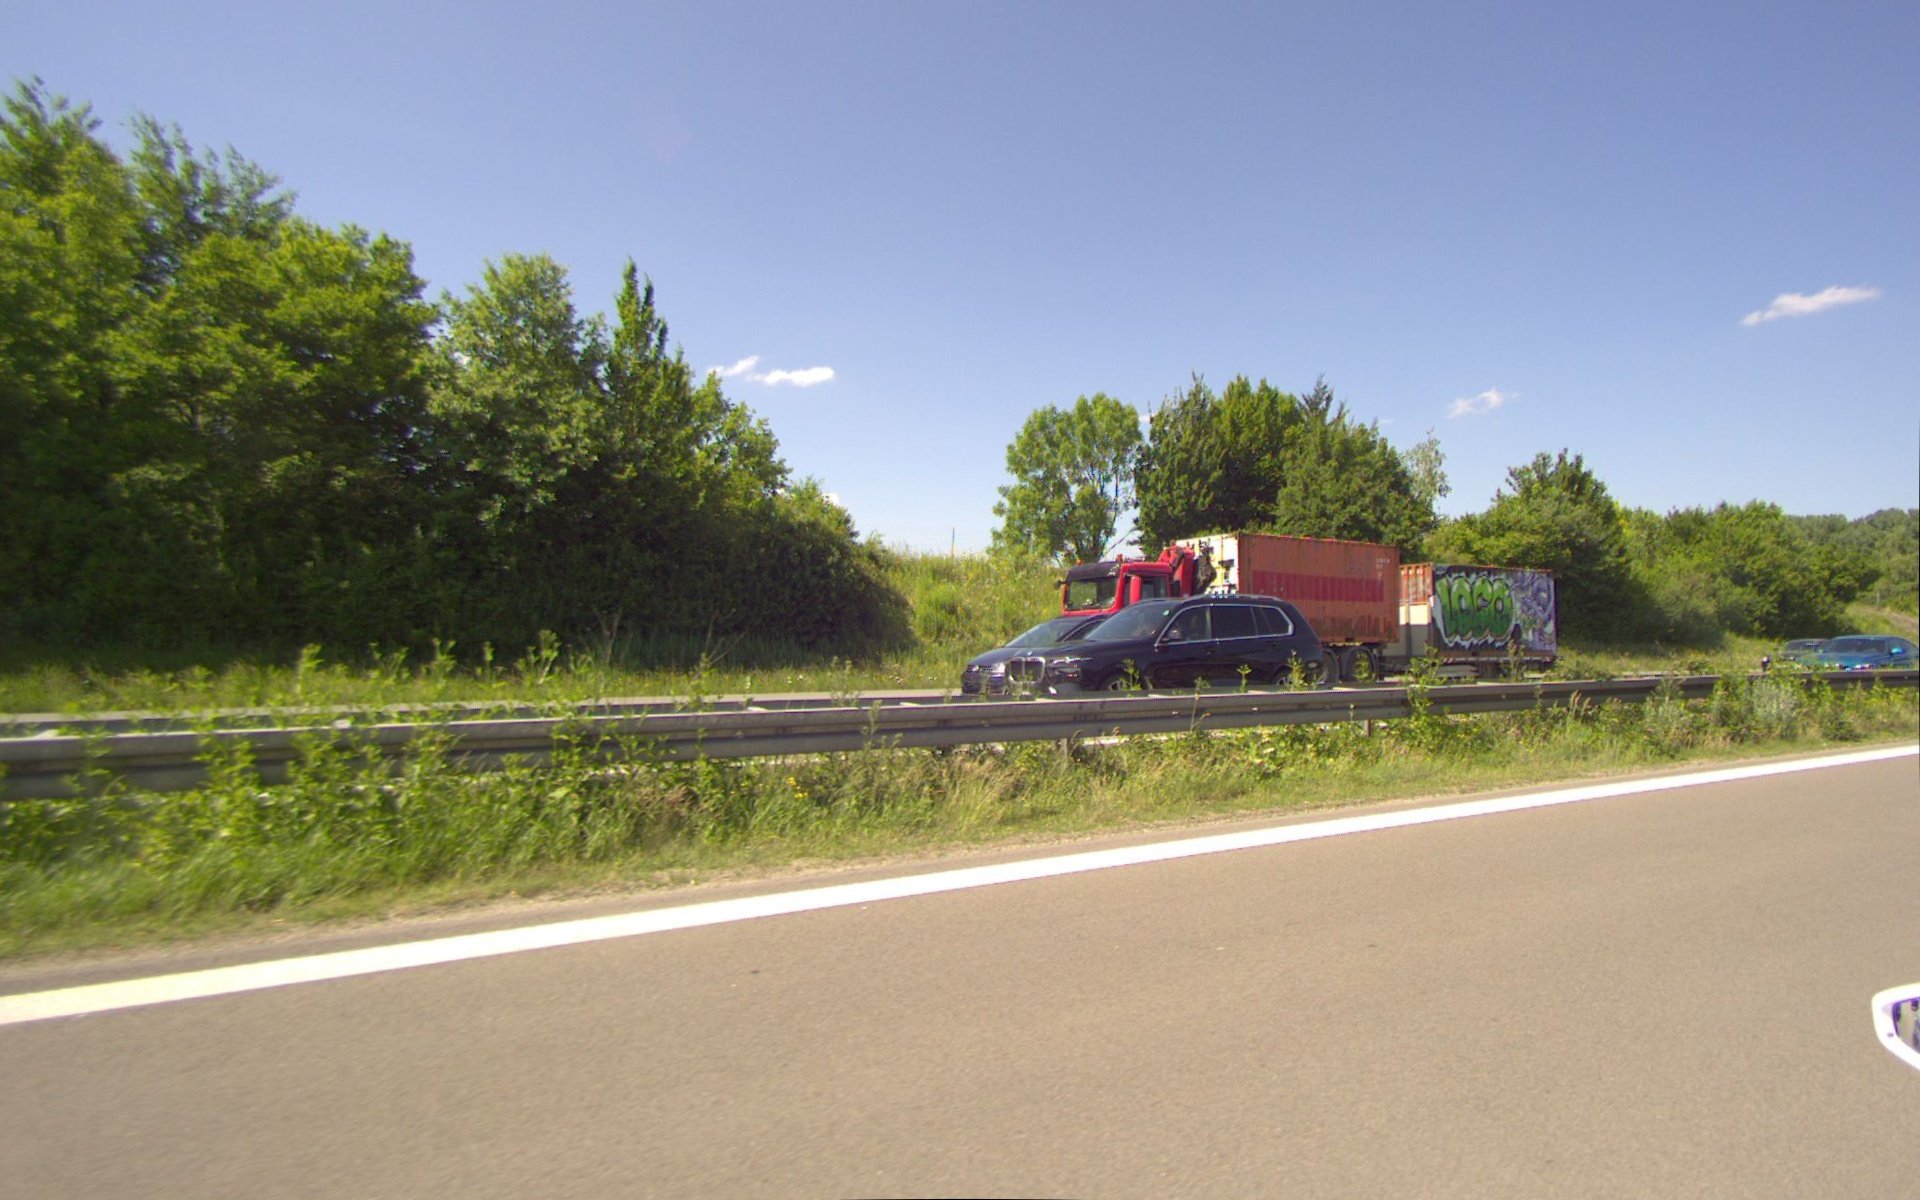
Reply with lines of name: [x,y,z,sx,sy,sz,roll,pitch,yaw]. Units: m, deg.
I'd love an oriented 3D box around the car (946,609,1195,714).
car: [2.047,1.058,18.290,4.217,1.712,1.983,1,-2,-32]

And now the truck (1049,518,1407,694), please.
truck: [7.016,0.282,25.460,9.803,3.819,2.667,1,-3,-31]

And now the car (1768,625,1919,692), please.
car: [23.049,1.461,25.905,4.897,1.586,1.824,1,-2,-30]

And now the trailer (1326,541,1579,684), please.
trailer: [14.884,0.472,30.120,8.308,3.819,2.667,1,-3,-30]

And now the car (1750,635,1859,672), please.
car: [34.557,2.187,41.083,4.866,1.456,1.887,1,-4,-31]

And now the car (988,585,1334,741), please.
car: [2.950,0.836,14.359,4.843,1.890,1.983,1,-2,-32]
